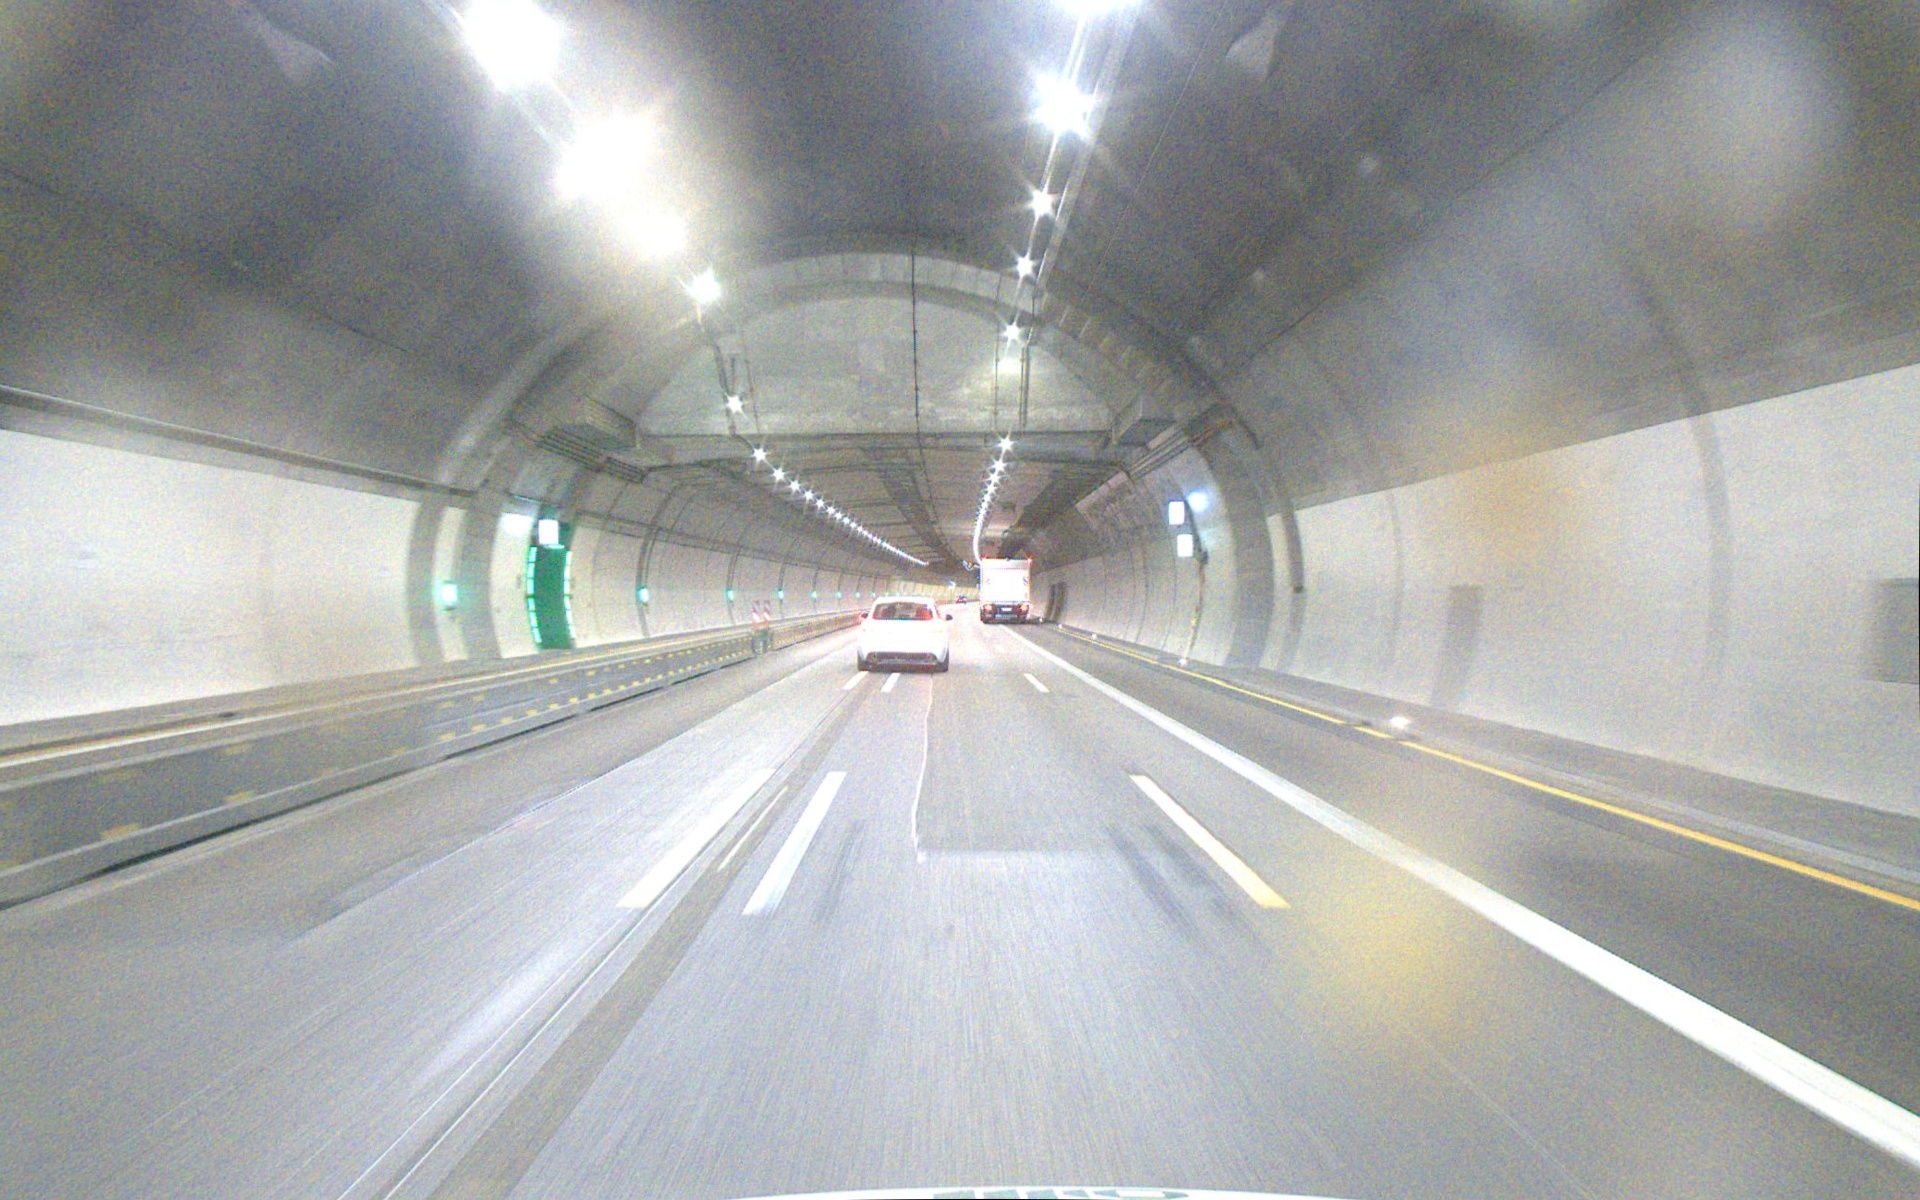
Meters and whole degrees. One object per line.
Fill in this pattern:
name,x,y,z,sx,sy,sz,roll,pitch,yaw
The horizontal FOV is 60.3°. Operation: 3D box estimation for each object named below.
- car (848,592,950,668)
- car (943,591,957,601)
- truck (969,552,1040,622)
car,-1.211,0.564,34.028,1.953,1.437,4.741,0,0,-1
car,-1.496,-0.613,256.905,1.952,1.545,4.002,1,0,3
truck,2.392,-0.723,93.067,3.520,3.714,10.719,0,0,-1
